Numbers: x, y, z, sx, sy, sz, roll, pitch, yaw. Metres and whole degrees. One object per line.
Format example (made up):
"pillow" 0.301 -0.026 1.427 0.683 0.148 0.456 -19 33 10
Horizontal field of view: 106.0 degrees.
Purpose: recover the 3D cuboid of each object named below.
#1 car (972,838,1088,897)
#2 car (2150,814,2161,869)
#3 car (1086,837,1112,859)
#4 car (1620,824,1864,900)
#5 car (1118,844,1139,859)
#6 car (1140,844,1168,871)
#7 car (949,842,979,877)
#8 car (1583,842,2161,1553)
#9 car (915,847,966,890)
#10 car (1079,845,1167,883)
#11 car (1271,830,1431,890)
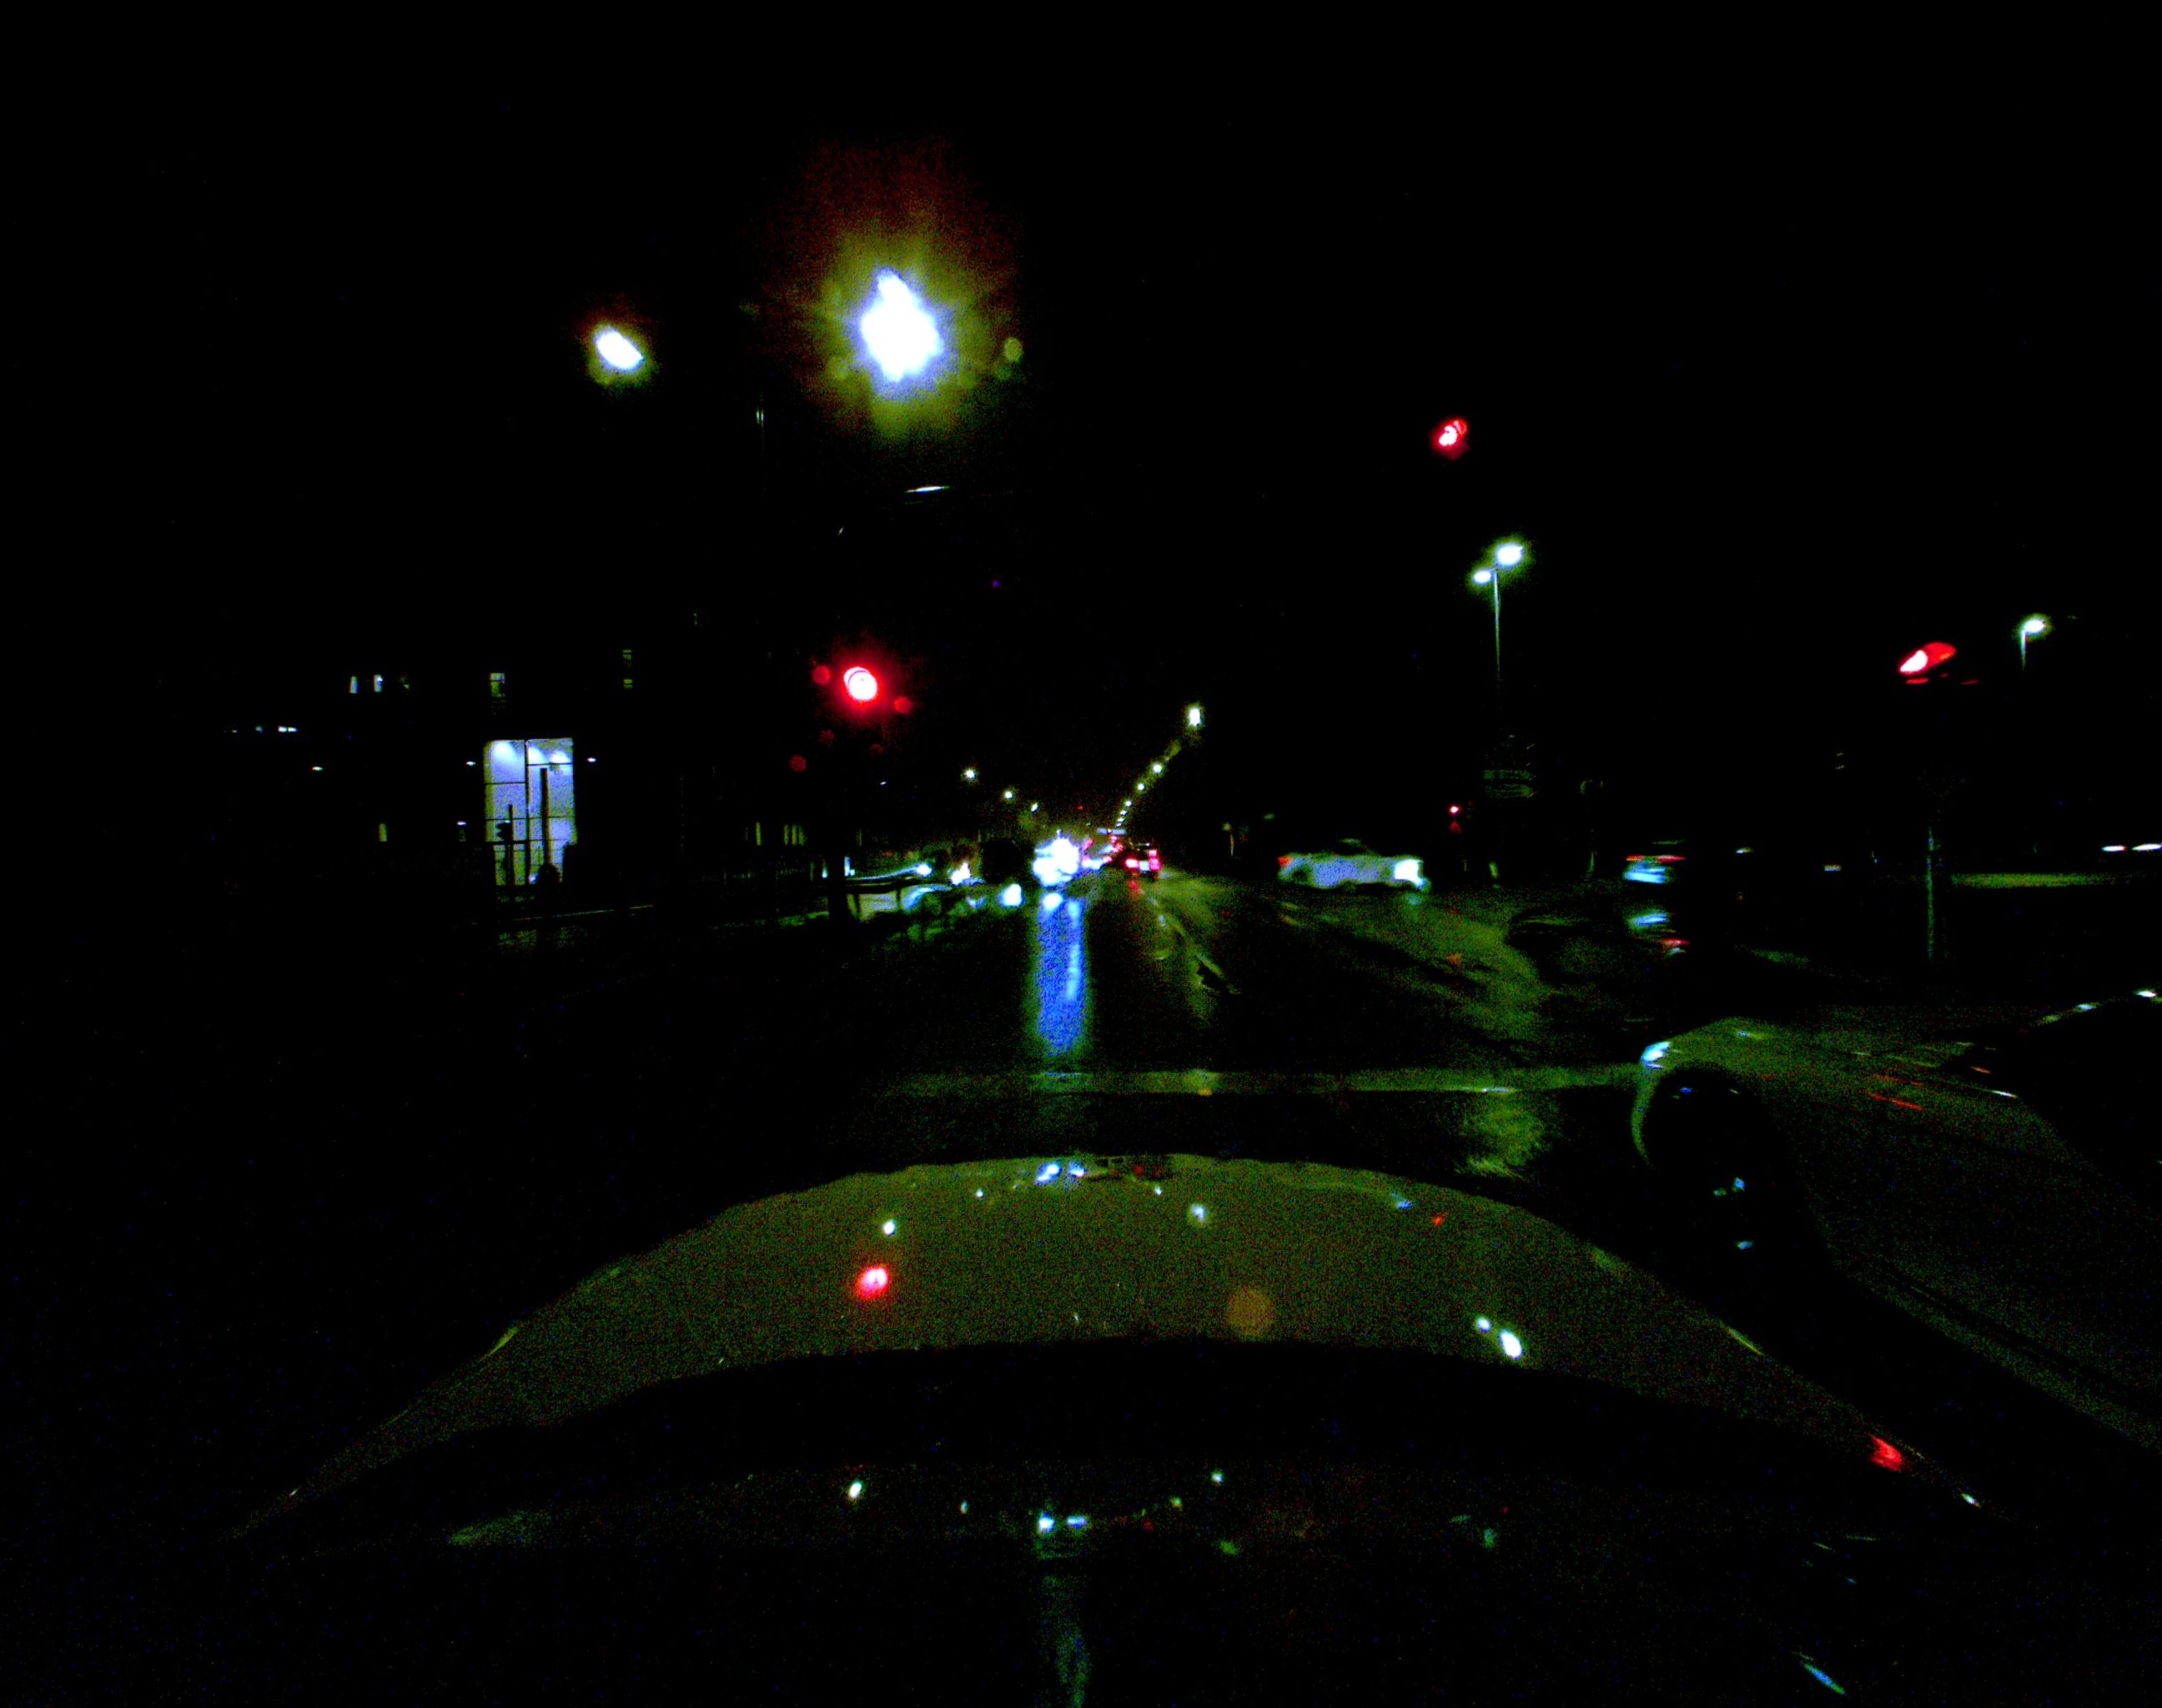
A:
"car" -1.681 0.427 25.873 1.732 1.734 3.720 -1 -1 -41
"car" 41.946 -0.506 29.287 3.963 2.014 2.005 -1 -1 9
"car" 1.776 -0.579 83.809 2.434 2.194 5.076 -1 0 -1
"car" 15.698 0.188 19.511 4.402 1.649 1.836 -1 -1 -2
"car" 5.382 -0.265 92.700 2.085 1.545 4.305 -1 0 -1
"car" 5.663 0.258 63.113 2.028 2.014 4.313 -1 0 5
"car" -7.174 0.357 49.729 1.698 2.014 3.555 -1 -1 -10
"car" 3.114 0.718 1.456 1.714 1.446 4.383 -3 0 1
"car" -5.993 0.583 34.631 1.953 1.672 4.400 -1 0 -11
"car" 2.196 0.510 41.941 4.268 1.785 2.050 -1 -1 8
"car" 8.235 0.213 24.907 4.407 1.671 1.851 -1 -1 25
